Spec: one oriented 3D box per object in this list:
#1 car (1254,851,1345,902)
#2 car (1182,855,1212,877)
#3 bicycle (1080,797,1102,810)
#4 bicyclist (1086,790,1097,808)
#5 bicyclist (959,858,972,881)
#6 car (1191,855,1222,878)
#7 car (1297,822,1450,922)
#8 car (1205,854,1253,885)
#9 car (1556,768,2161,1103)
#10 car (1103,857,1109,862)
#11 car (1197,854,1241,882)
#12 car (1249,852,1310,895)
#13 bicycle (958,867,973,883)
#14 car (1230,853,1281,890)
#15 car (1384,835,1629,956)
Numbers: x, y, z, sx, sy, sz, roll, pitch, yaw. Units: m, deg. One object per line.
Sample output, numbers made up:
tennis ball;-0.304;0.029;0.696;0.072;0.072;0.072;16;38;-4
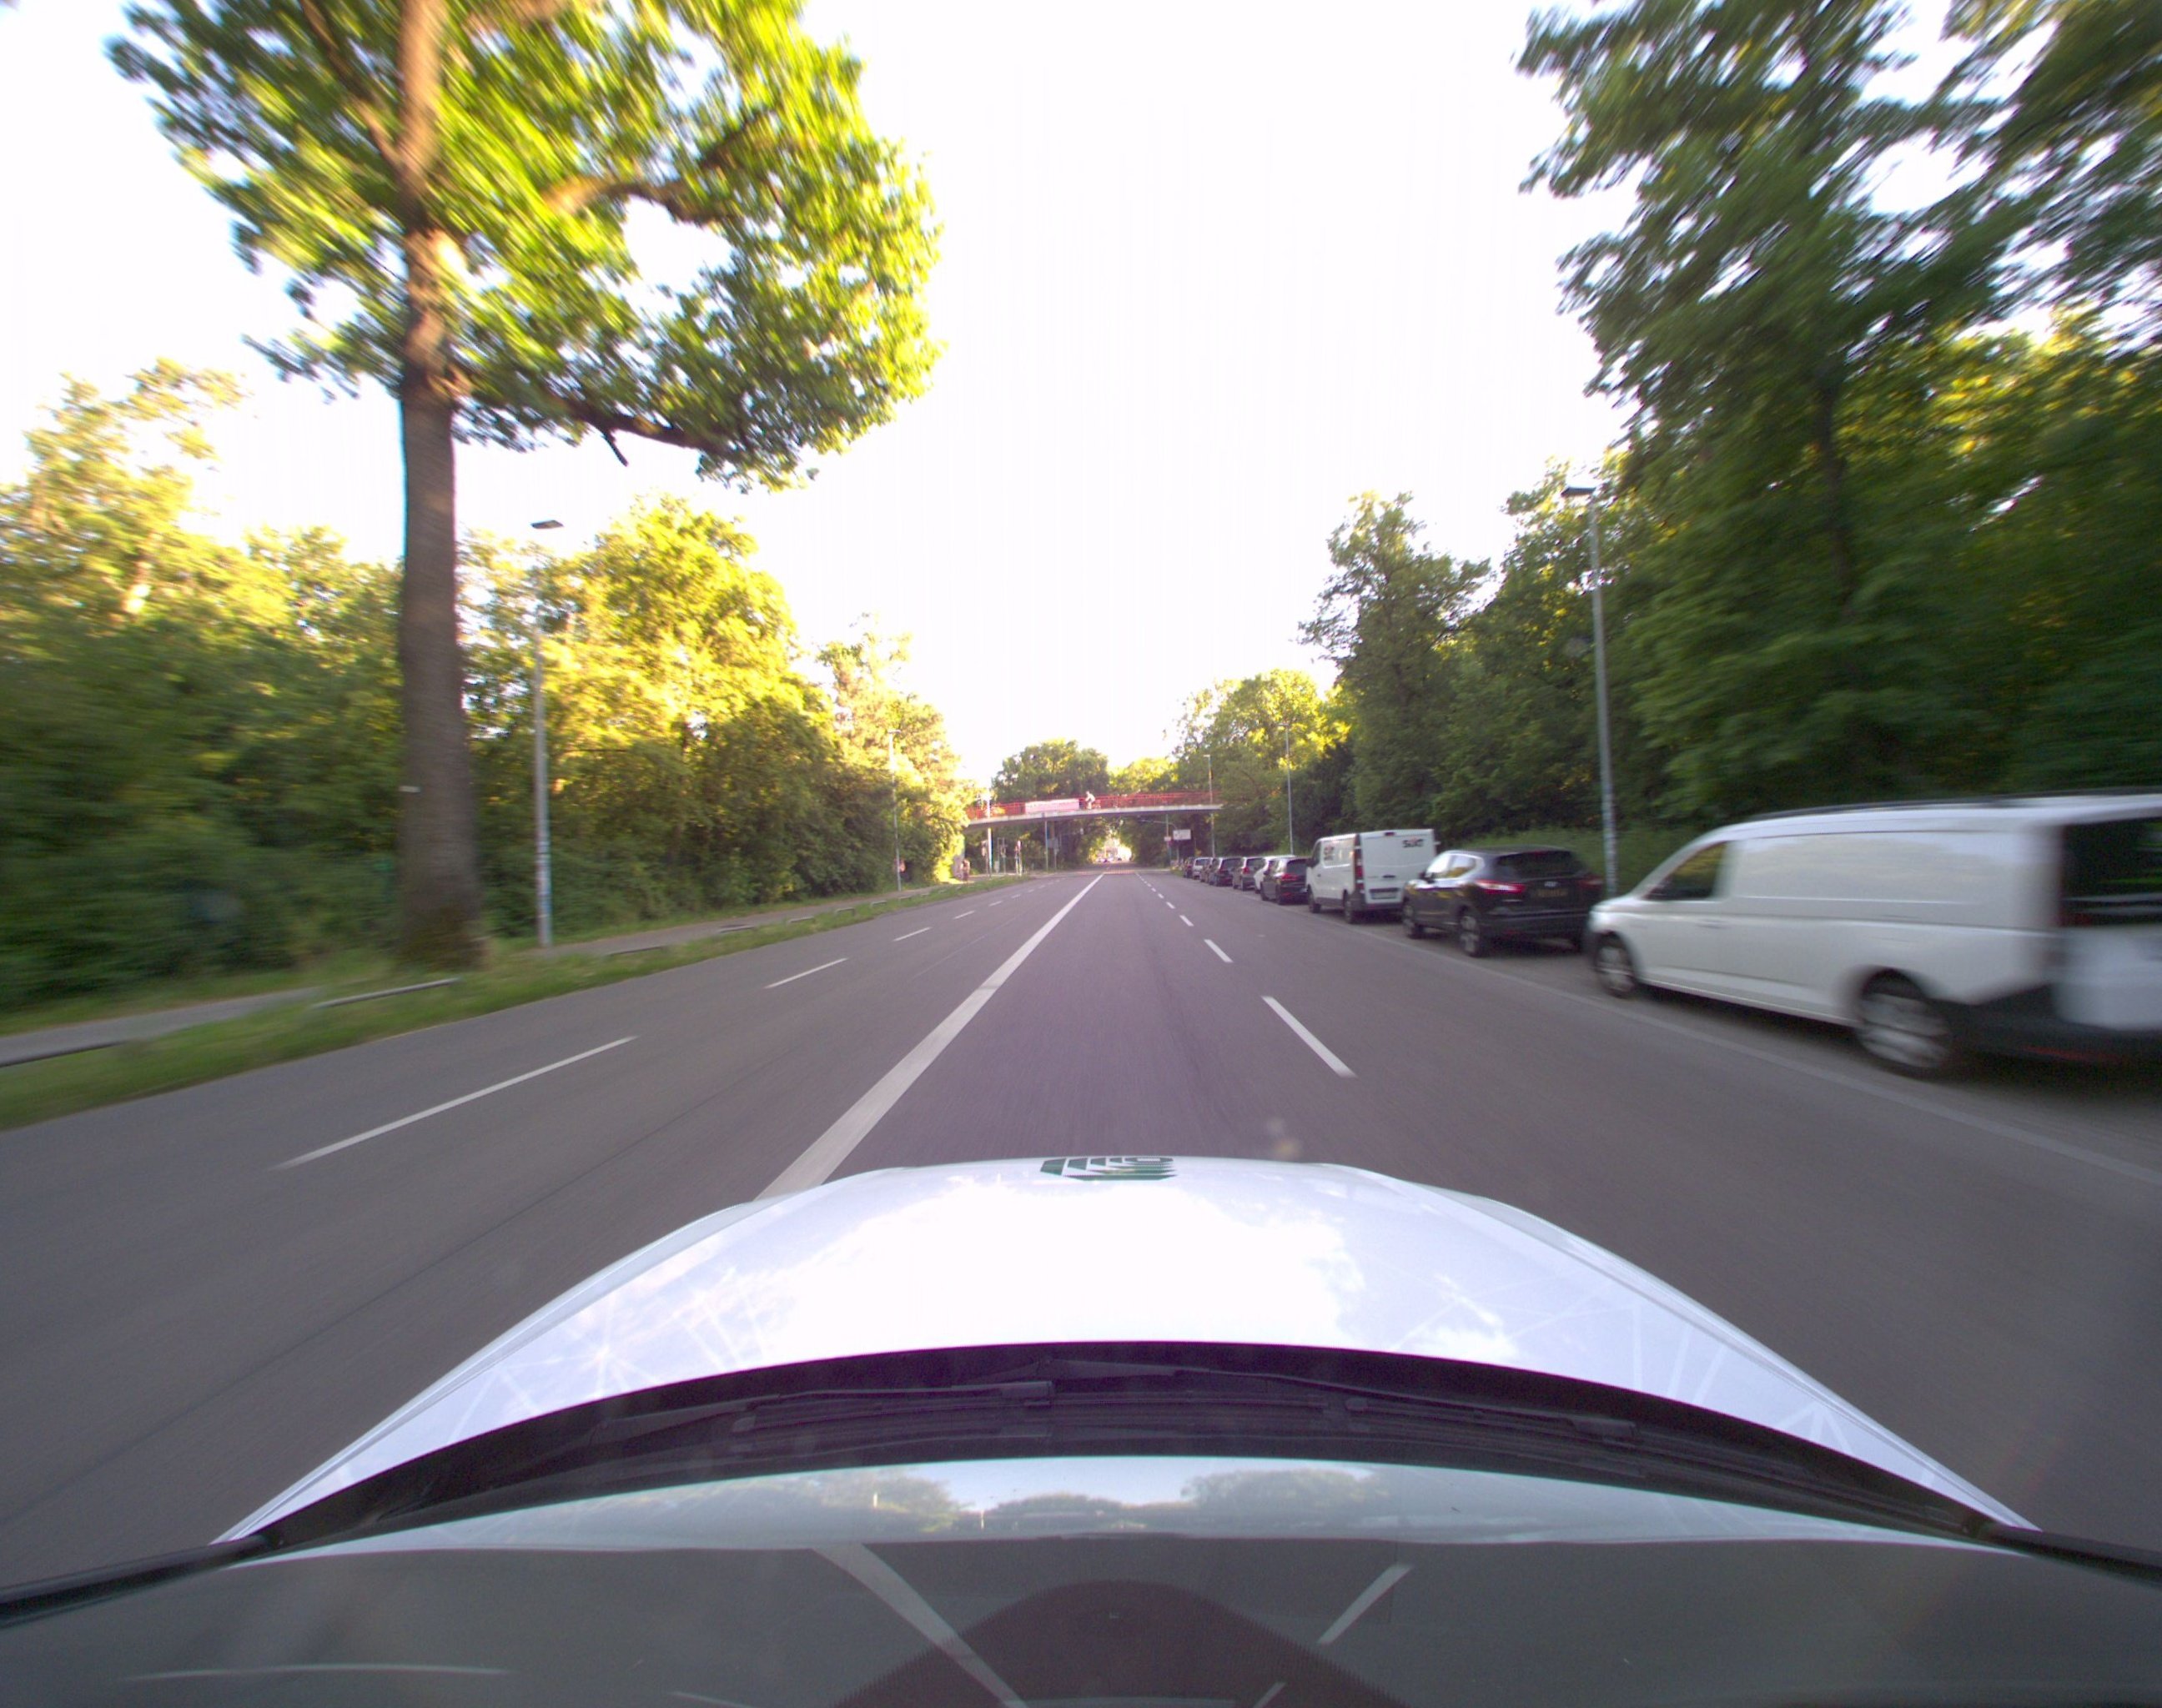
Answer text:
car;6.873;0.688;26.065;1.861;1.406;4.372;-3;-1;3
car;8.415;0.862;59.574;1.767;1.454;4.391;-3;-1;3
bicycle;0.925;-4.623;74.284;1.980;1.147;0.714;-1;-1;0
bicyclist;0.932;-4.974;74.289;0.967;1.586;0.714;-1;-1;0
bicyclist;-8.075;1.076;57.147;0.709;1.559;1.143;-1;-1;2
car;8.441;0.834;55.158;1.766;1.454;4.020;-3;-1;5
car;6.732;0.392;19.474;1.861;1.981;5.478;-3;-1;3
car;7.593;0.778;42.246;1.631;1.454;4.898;-3;-1;1
car;6.241;0.442;6.835;1.753;1.804;4.738;-3;-1;1
car;7.322;1.580;239.438;1.880;1.506;4.365;-3;-1;2
car;8.015;0.788;47.674;1.768;1.454;5.039;-3;-1;1
car;7.550;0.712;31.219;1.579;1.454;3.802;-3;-1;4
bicycle;-8.076;1.472;57.142;0.709;1.147;1.994;-1;-1;2
car;7.630;0.736;35.874;1.579;1.454;3.946;-3;-1;3
car;6.530;0.579;13.146;1.752;1.547;4.432;-3;-1;3
